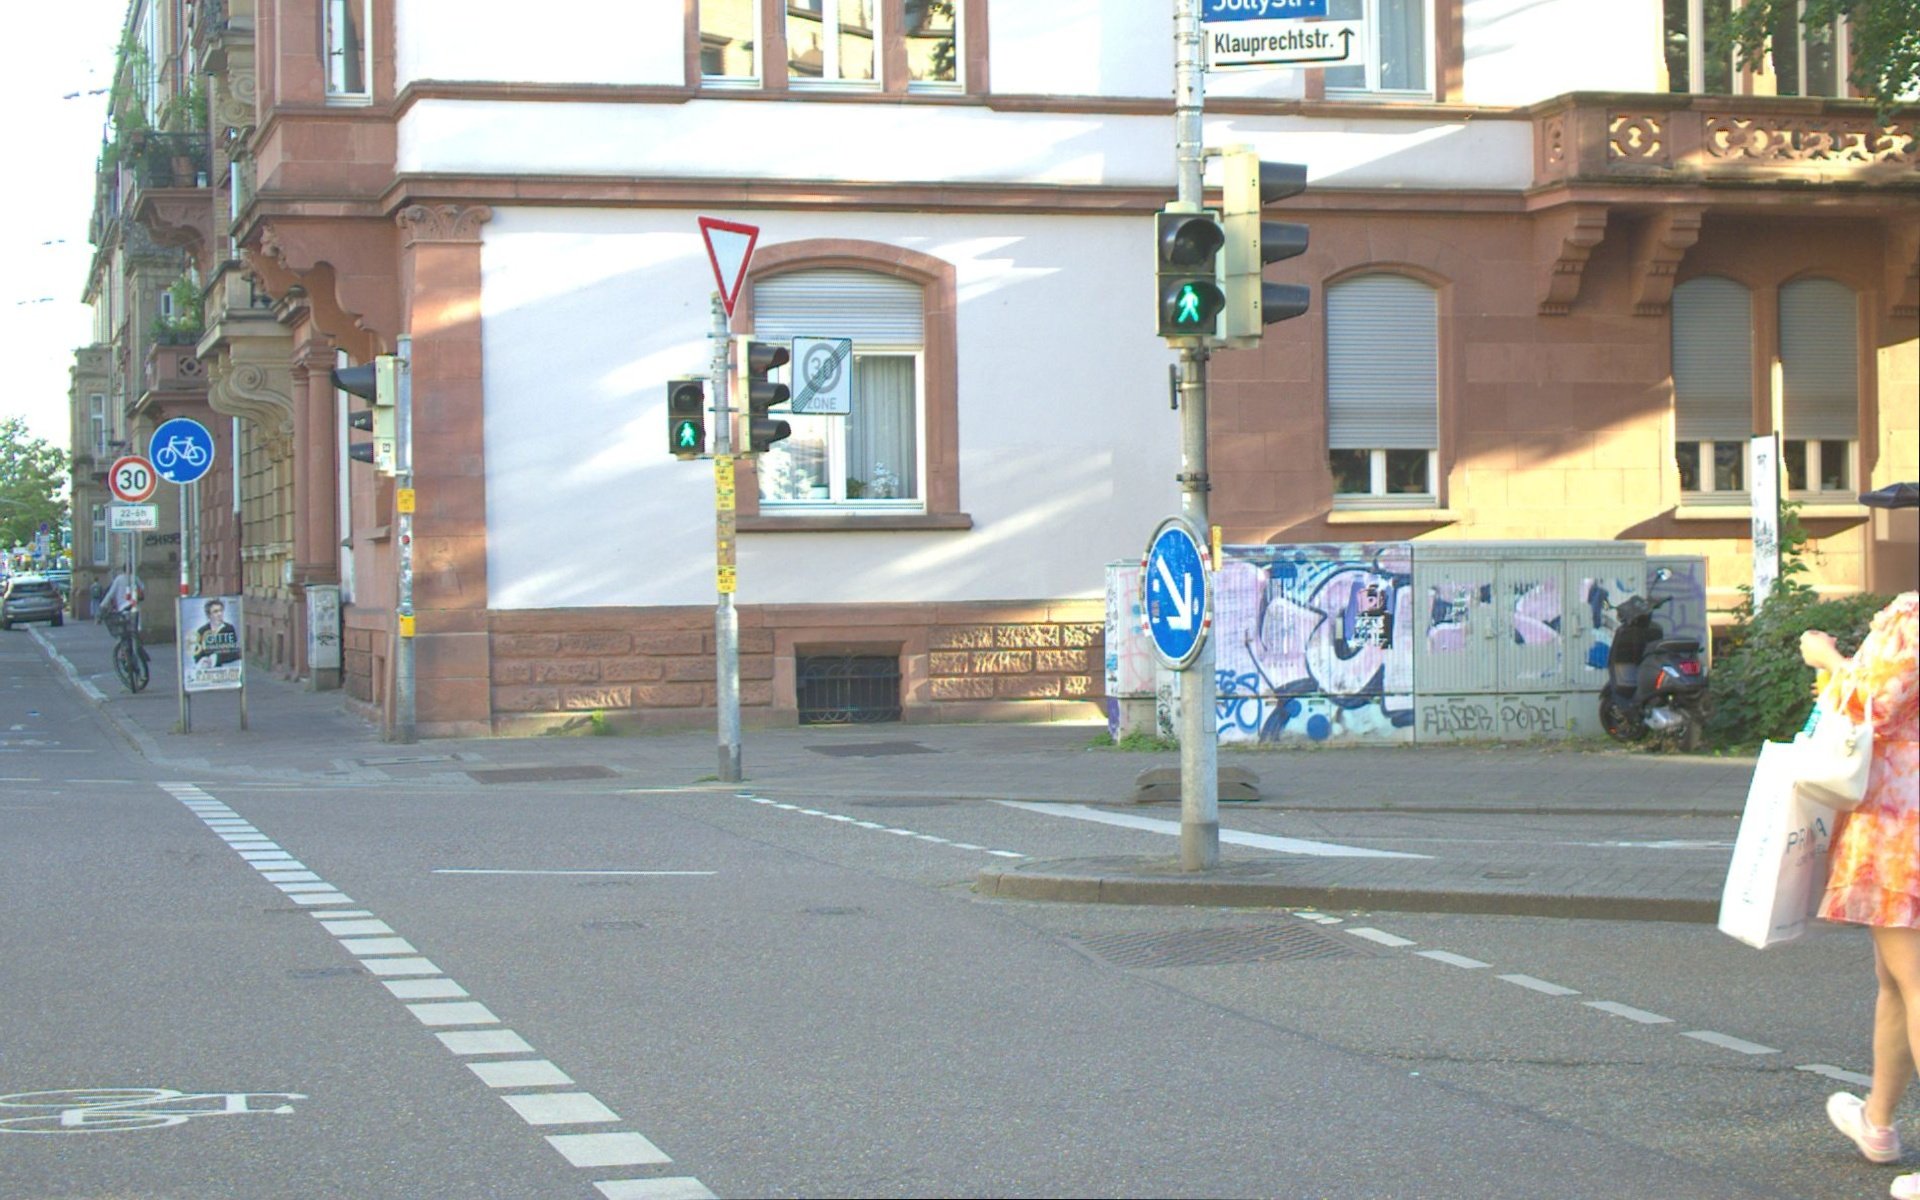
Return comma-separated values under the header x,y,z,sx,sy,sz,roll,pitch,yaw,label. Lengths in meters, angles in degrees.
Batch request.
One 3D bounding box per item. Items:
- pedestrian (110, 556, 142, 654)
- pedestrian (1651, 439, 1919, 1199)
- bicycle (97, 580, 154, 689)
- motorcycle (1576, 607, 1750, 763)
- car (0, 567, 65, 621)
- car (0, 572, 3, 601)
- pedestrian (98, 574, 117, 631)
x,y,z,sx,sy,sz,roll,pitch,yaw,label
-15.200,0.095,62.648,0.544,1.774,0.504,-1,0,-15,pedestrian
2.145,0.523,8.258,0.805,1.794,0.761,-1,1,0,pedestrian
-10.438,0.418,43.049,0.653,1.319,2.177,-1,1,-13,bicycle
5.349,0.624,26.288,0.719,1.016,2.287,-1,3,-4,motorcycle
-29.597,-0.213,109.787,1.949,1.678,4.001,-1,1,-14,car
-58.102,-0.814,204.979,1.993,1.722,4.001,0,0,-16,car
-26.498,0.075,106.803,0.544,1.774,0.749,-1,0,-15,pedestrian
